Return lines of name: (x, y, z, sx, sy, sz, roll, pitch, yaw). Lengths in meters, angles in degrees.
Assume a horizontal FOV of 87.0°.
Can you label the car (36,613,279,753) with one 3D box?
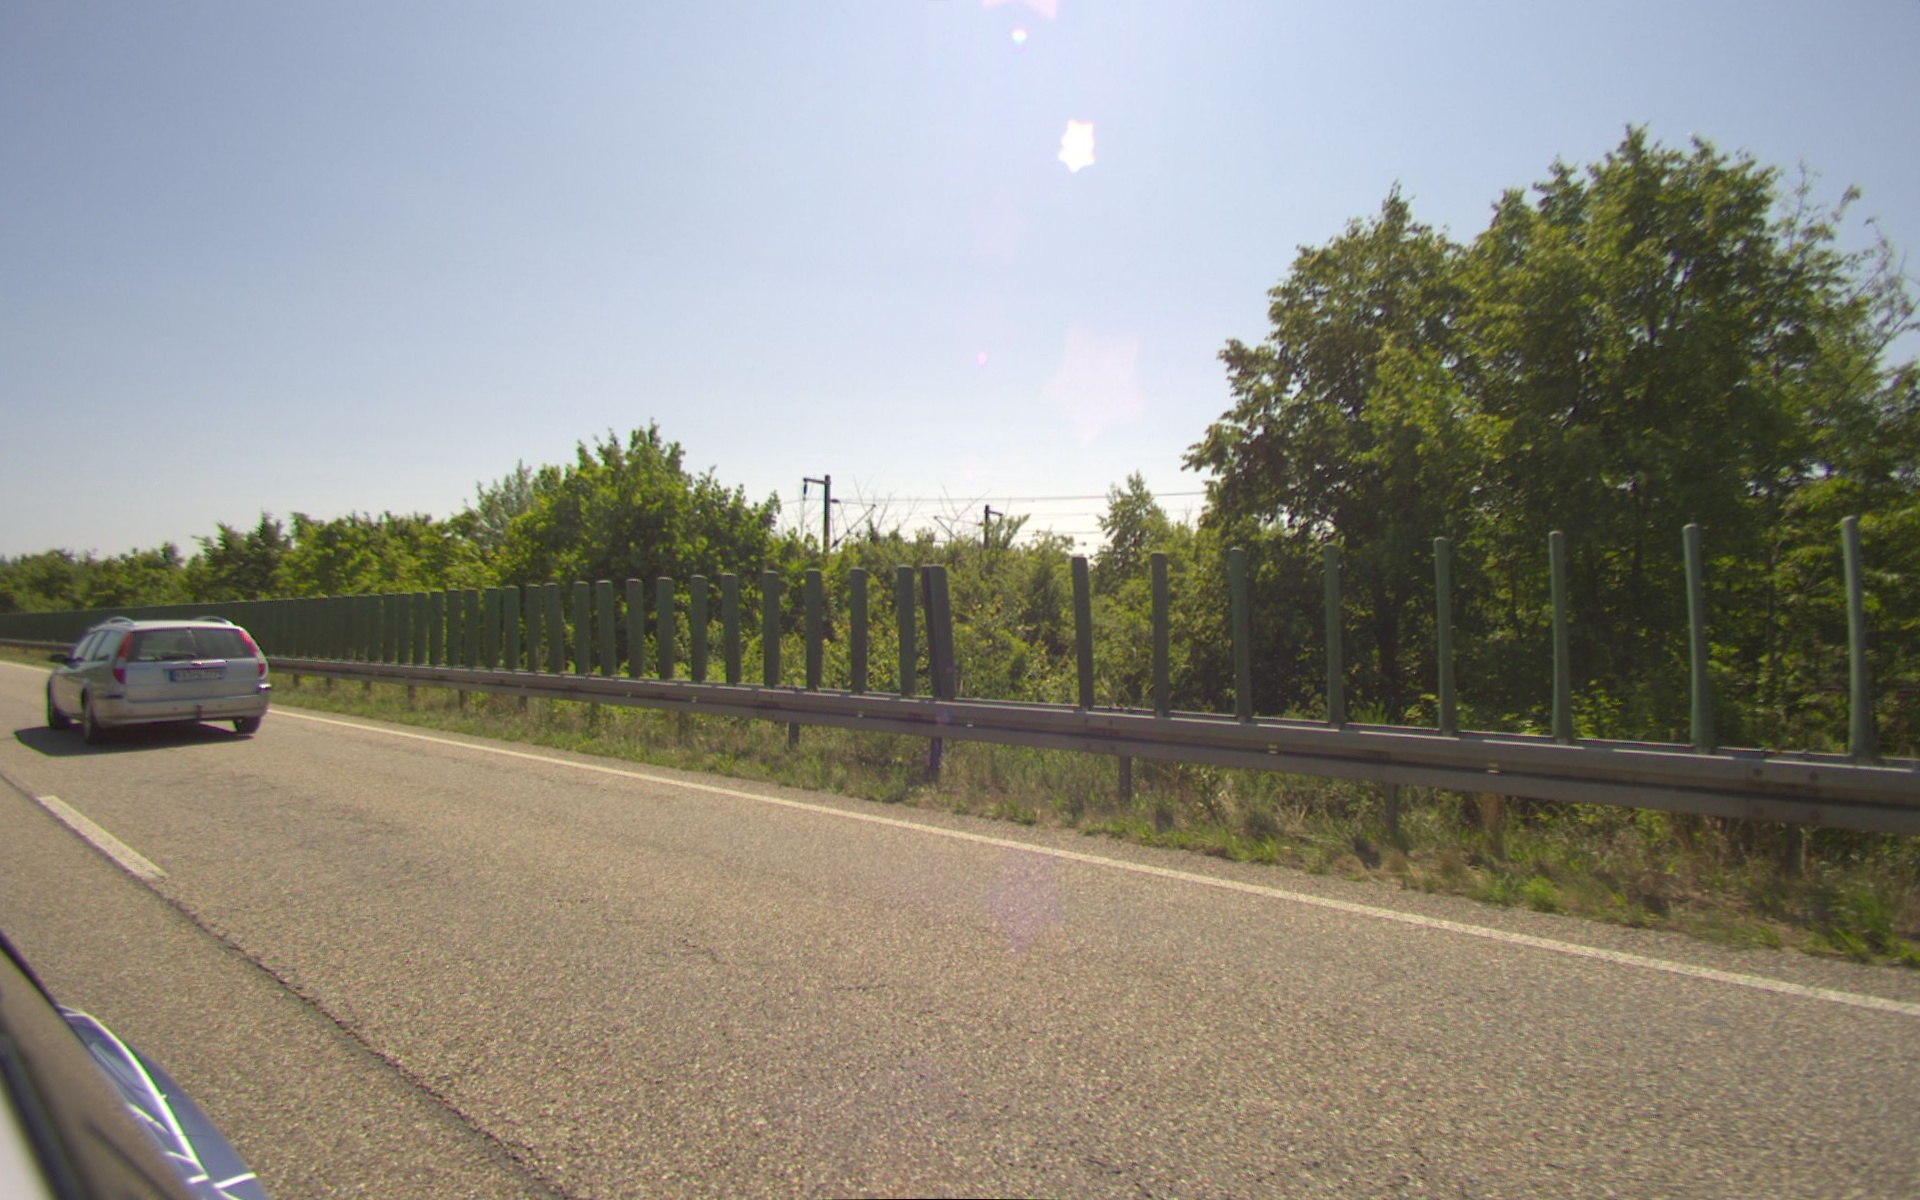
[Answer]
car: (-10.482, 0.959, 13.112, 4.245, 1.512, 1.702, -2, -1, 41)
